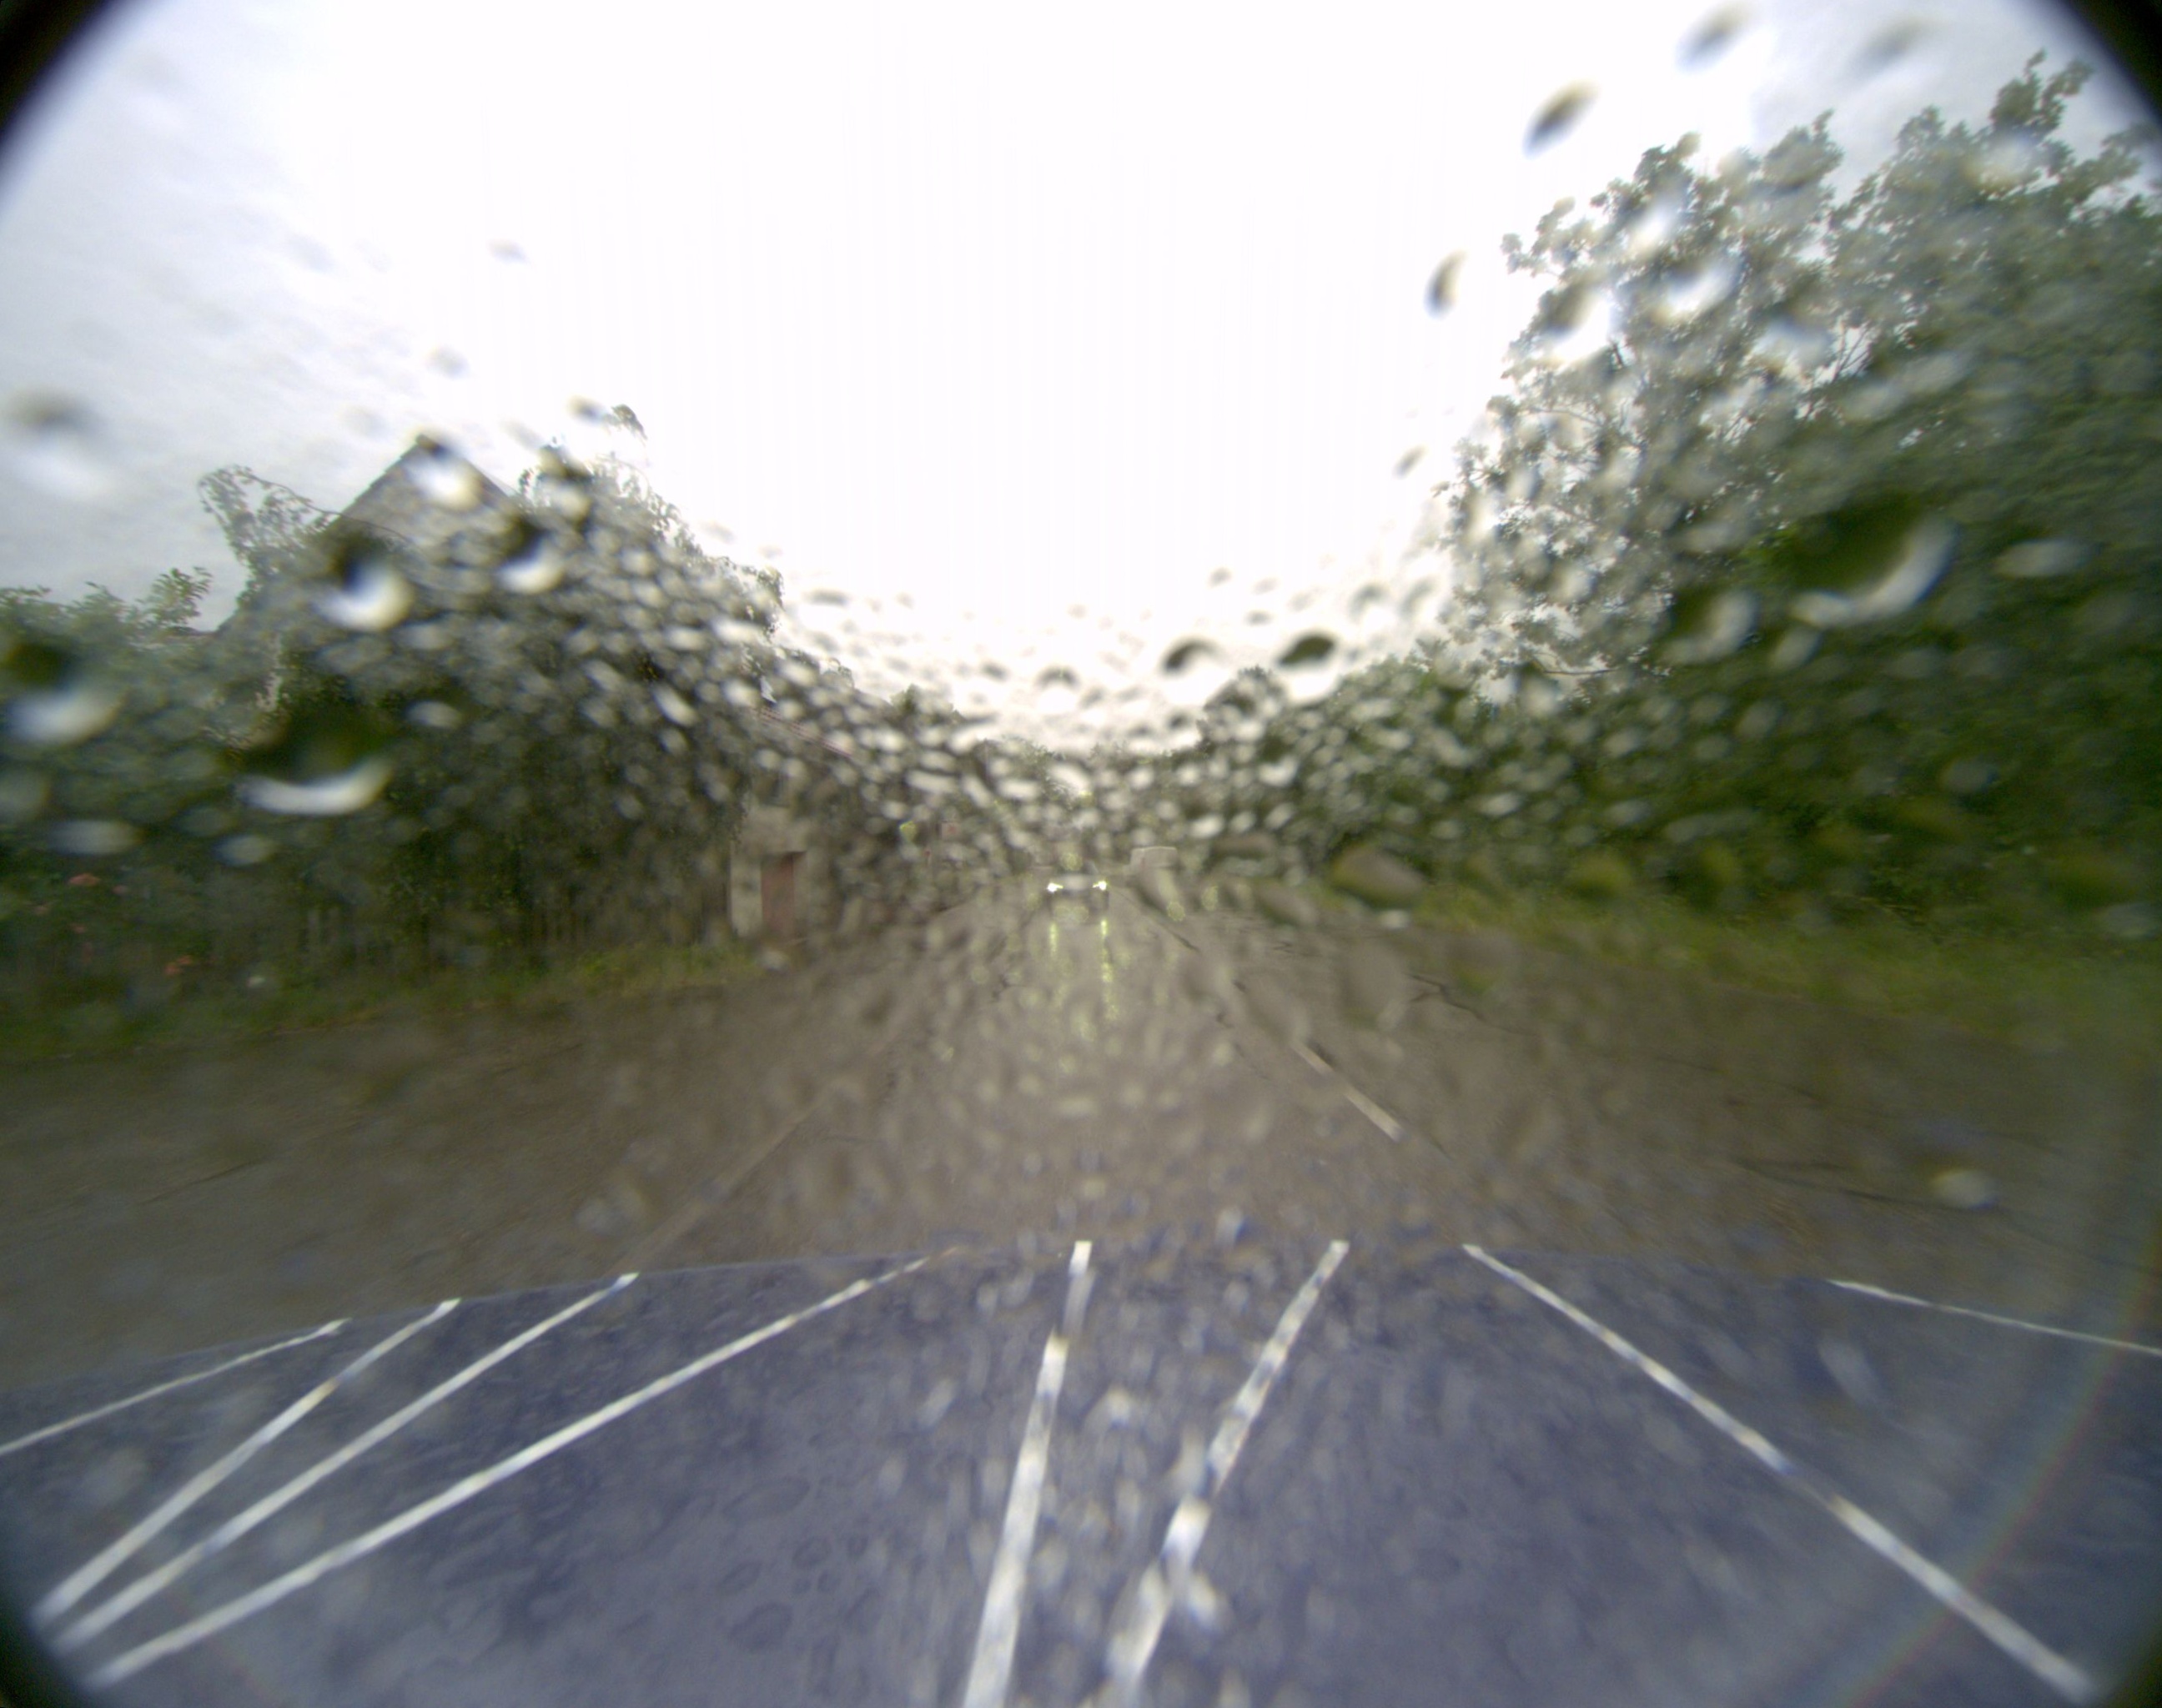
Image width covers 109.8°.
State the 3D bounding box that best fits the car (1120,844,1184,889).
[{"bbox_3d":[3.185,0.516,34.714,1.838,1.853,3.951,-3,1,-10],"label":"car"}]

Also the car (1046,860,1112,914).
[{"bbox_3d":[-0.039,0.937,23.183,1.767,1.316,4.548,-3,1,0],"label":"car"}]
